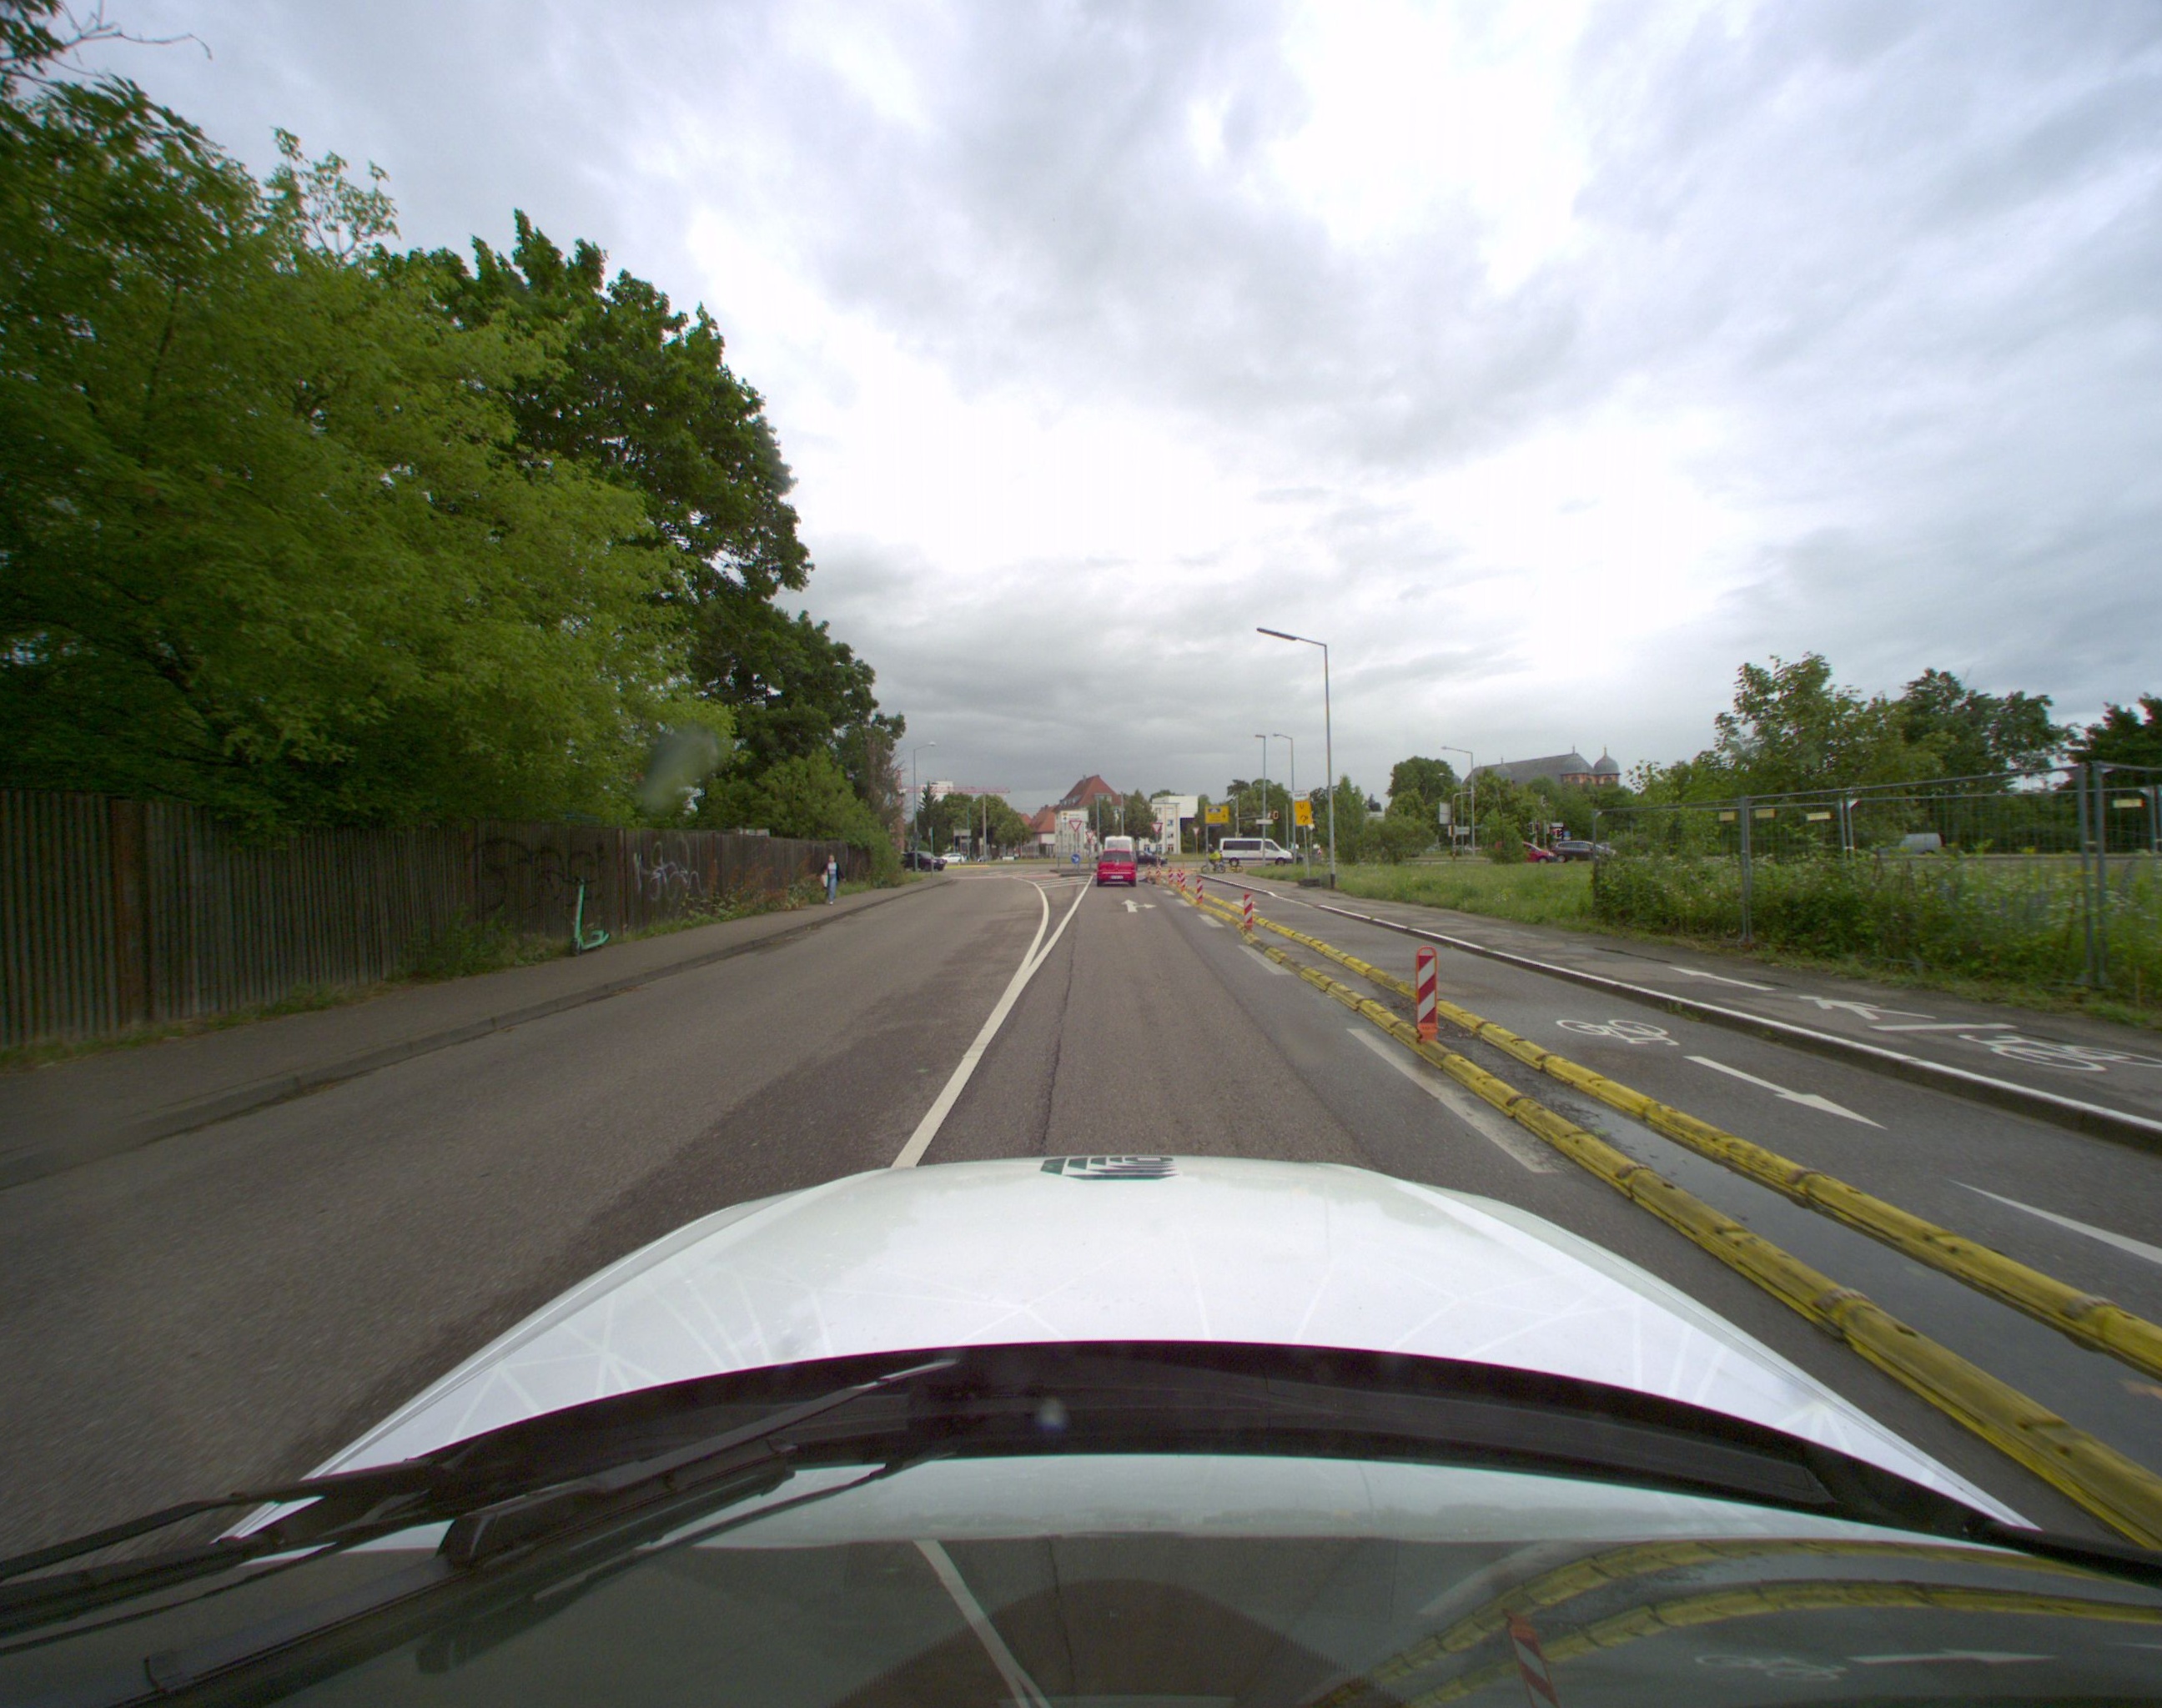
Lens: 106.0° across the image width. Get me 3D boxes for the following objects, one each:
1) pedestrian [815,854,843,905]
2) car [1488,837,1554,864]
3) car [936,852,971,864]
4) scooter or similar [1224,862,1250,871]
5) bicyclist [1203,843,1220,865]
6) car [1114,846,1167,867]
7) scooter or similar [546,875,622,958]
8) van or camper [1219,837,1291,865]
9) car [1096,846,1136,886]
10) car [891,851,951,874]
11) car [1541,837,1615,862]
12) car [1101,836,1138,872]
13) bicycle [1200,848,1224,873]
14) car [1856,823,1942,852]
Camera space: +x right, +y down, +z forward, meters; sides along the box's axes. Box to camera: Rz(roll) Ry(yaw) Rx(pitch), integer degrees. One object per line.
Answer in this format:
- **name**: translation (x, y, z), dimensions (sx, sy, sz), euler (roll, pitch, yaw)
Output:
- **pedestrian**: translation (-7.669, 0.772, 24.822), dimensions (0.610, 1.529, 0.723), euler (-1, 0, -3)
- **car**: translation (33.234, -0.271, 61.490), dimensions (4.154, 1.917, 2.129), euler (-1, 0, 34)
- **car**: translation (-17.449, 0.545, 111.825), dimensions (1.974, 1.635, 4.705), euler (-1, 0, 38)
- **scooter or similar**: translation (10.314, 0.821, 53.820), dimensions (1.600, 0.504, 0.926), euler (-1, 0, 5)
- **bicyclist**: translation (8.632, 0.004, 53.980), dimensions (1.056, 1.401, 0.616), euler (-1, 0, 5)
- **car**: translation (5.205, 0.200, 71.287), dimensions (4.331, 1.750, 2.007), euler (-1, 0, 11)
- **scooter or similar**: translation (-7.678, 0.937, 12.628), dimensions (0.422, 1.170, 1.302), euler (-1, 0, -3)
- **van or camper**: translation (13.922, -0.258, 65.379), dimensions (5.500, 2.115, 2.006), euler (-1, 0, 10)
- **car**: translation (1.522, 0.502, 35.540), dimensions (1.667, 1.640, 3.629), euler (0, 0, 2)
- **car**: translation (-14.552, 0.733, 74.004), dimensions (4.979, 1.972, 2.237), euler (-1, 0, 26)
- **car**: translation (38.200, -0.329, 62.661), dimensions (4.550, 1.795, 2.128), euler (-1, 0, 43)
- **car**: translation (2.838, -0.014, 58.889), dimensions (2.183, 2.540, 4.973), euler (0, 0, 8)
- **bicycle**: translation (8.670, 0.433, 53.983), dimensions (1.470, 1.612, 0.607), euler (-1, 0, 5)
- **car**: translation (60.555, -1.207, 60.343), dimensions (2.011, 2.013, 4.424), euler (-1, 0, -42)
